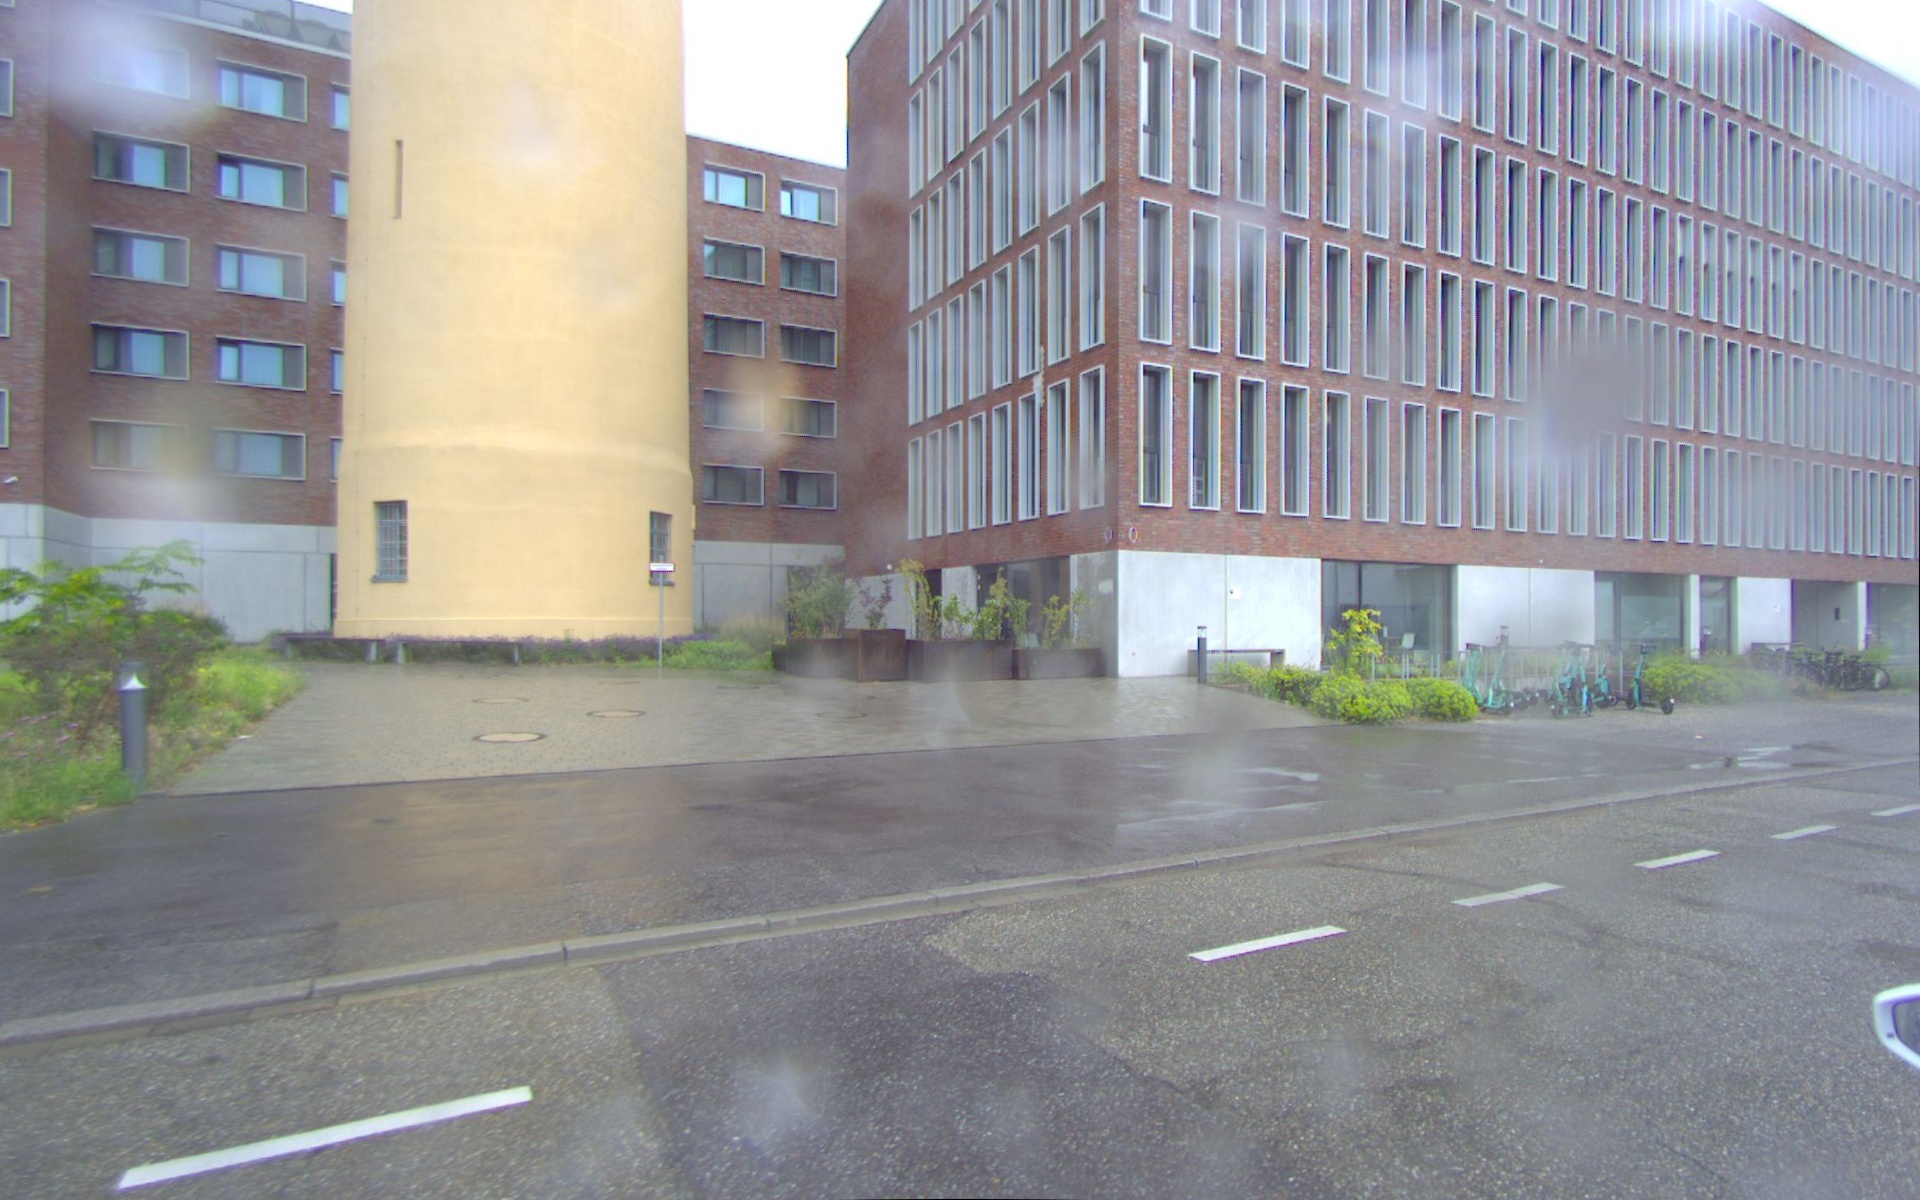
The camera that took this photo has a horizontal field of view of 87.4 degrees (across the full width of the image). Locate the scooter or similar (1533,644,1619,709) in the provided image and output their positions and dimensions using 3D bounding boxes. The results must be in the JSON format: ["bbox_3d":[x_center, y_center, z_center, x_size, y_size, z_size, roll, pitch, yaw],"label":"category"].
[{"bbox_3d":[11.827,1.453,19.307,0.464,1.193,1.305,1,-2,-40],"label":"scooter or similar"}]

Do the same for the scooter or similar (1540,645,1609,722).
[{"bbox_3d":[10.507,1.403,17.163,1.306,1.246,0.463,1,-2,-33],"label":"scooter or similar"}]

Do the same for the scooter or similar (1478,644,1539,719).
[{"bbox_3d":[9.573,1.405,17.573,0.498,1.246,1.322,-1,-2,9],"label":"scooter or similar"}]

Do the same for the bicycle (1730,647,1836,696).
[{"bbox_3d":[20.457,1.757,25.011,0.613,1.091,1.939,1,0,-30],"label":"bicycle"}]

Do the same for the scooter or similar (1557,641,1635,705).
[{"bbox_3d":[12.535,1.429,19.824,1.183,1.246,0.468,-1,-2,13],"label":"scooter or similar"}]

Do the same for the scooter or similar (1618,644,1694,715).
[{"bbox_3d":[12.752,1.432,18.434,0.458,1.246,1.321,0,-2,0],"label":"scooter or similar"}]

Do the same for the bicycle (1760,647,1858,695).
[{"bbox_3d":[21.790,1.794,25.821,0.538,1.091,1.850,1,0,-30],"label":"bicycle"}]

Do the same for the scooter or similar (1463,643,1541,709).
[{"bbox_3d":[10.381,1.433,19.268,0.461,1.193,1.313,0,-2,-23],"label":"scooter or similar"}]

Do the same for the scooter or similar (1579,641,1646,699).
[{"bbox_3d":[14.335,1.517,22.094,0.411,1.224,1.224,0,-2,-22],"label":"scooter or similar"}]

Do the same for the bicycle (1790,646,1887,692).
[{"bbox_3d":[23.263,1.808,26.634,0.538,1.091,1.850,1,0,-30],"label":"bicycle"}]

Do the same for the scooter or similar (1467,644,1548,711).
[{"bbox_3d":[10.122,1.412,18.604,0.461,1.193,1.313,0,-2,-23],"label":"scooter or similar"}]

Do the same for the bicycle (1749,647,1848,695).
[{"bbox_3d":[21.235,1.774,25.482,0.538,1.091,1.850,1,0,-30],"label":"bicycle"}]

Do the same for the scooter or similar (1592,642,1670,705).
[{"bbox_3d":[13.363,1.461,20.026,1.183,1.224,0.468,-1,-2,13],"label":"scooter or similar"}]

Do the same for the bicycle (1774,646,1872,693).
[{"bbox_3d":[22.554,1.798,26.285,0.538,1.091,1.850,1,0,-30],"label":"bicycle"}]

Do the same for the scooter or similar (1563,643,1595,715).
[{"bbox_3d":[11.317,1.425,18.370,0.459,1.246,1.318,-1,-2,32],"label":"scooter or similar"}]
